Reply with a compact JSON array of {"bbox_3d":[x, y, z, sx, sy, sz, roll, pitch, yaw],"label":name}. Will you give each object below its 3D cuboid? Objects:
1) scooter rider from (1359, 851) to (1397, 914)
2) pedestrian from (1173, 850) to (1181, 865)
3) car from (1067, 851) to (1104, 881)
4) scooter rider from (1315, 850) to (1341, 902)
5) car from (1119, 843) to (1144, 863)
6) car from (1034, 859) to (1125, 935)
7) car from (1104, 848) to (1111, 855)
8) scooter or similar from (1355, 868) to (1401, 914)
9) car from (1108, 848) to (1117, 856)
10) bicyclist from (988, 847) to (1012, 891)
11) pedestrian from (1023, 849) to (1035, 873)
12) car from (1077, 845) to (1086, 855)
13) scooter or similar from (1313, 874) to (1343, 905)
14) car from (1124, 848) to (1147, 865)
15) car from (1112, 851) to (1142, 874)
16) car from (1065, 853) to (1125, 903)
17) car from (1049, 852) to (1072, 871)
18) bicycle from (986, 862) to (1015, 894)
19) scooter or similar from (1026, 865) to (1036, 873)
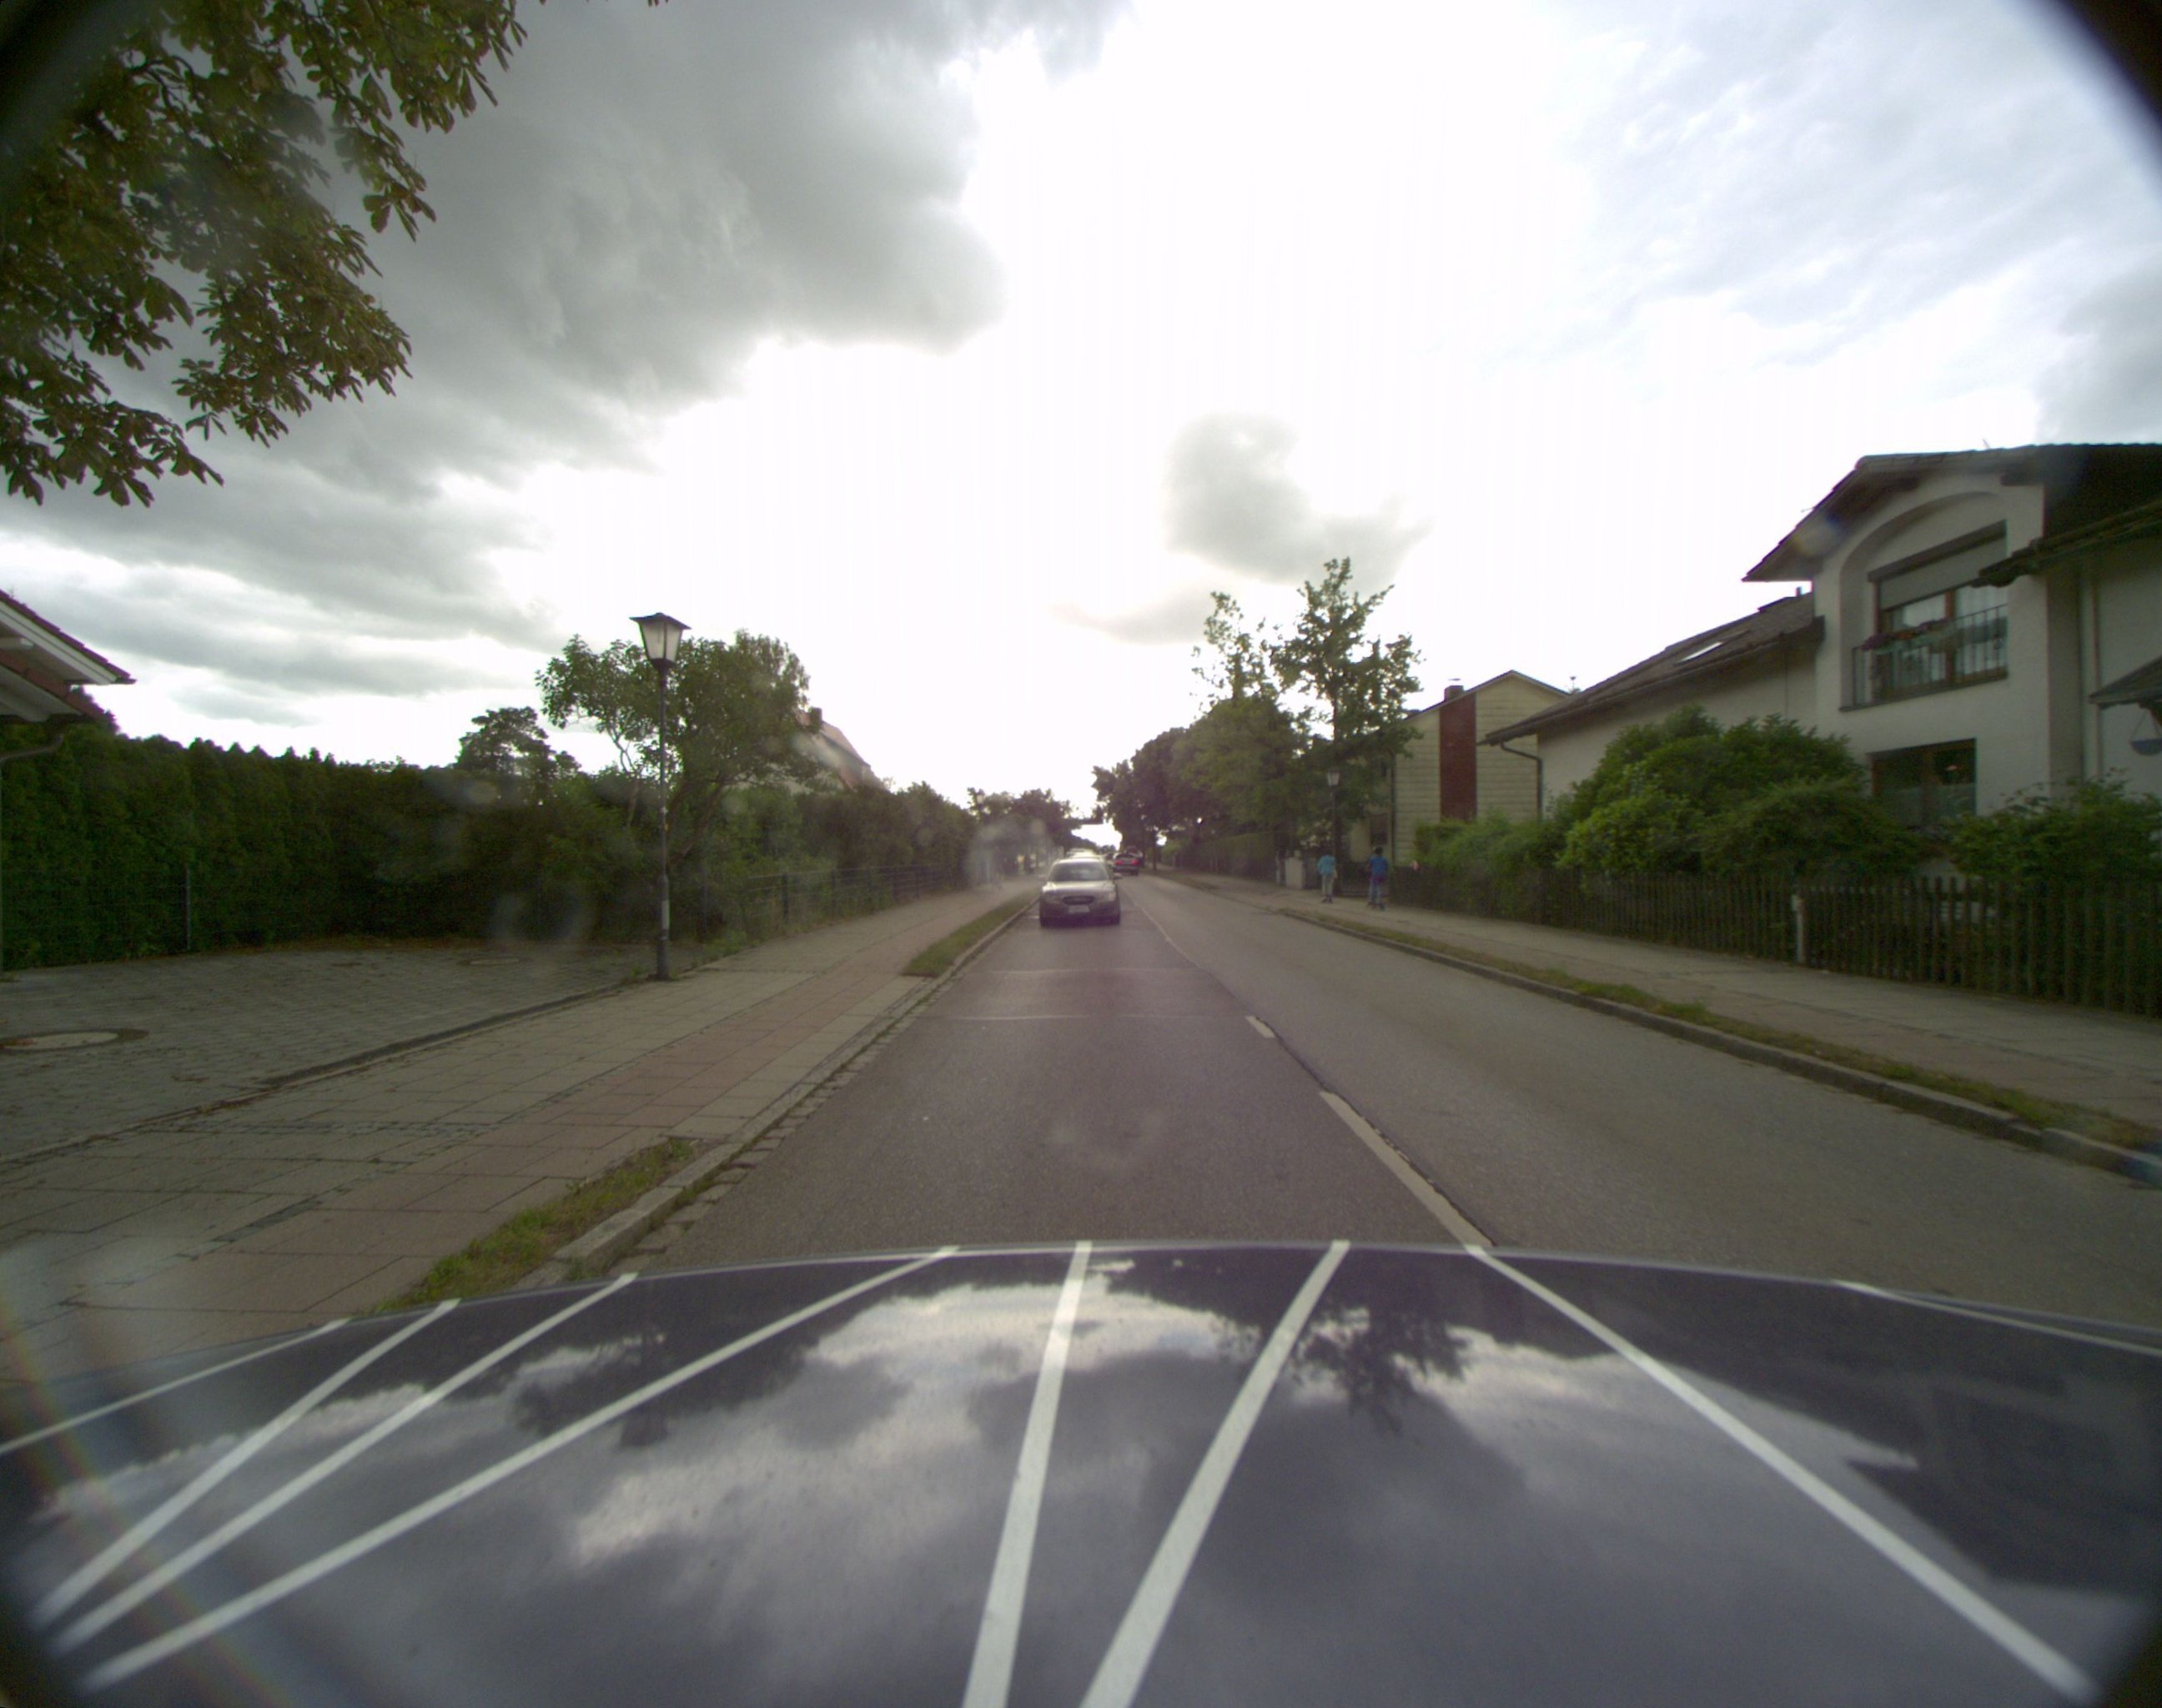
[{"bbox_3d":[7.139,0.671,18.269,0.664,1.464,0.581,-1,1,1],"label":"scooter rider"},{"bbox_3d":[8.996,0.342,71.236,0.631,1.429,0.563,-1,1,0],"label":"pedestrian"},{"bbox_3d":[0.233,0.618,41.377,1.866,1.518,4.122,-1,0,0],"label":"car"},{"bbox_3d":[7.093,0.618,21.842,0.504,1.481,0.716,-1,1,2],"label":"scooter rider"},{"bbox_3d":[5.763,-0.120,87.194,2.246,2.258,4.469,-1,0,-3],"label":"car"},{"bbox_3d":[-0.029,0.883,17.601,1.809,1.476,4.270,-1,0,0],"label":"car"},{"bbox_3d":[7.360,-0.604,211.217,1.904,1.873,5.010,-1,0,1],"label":"car"},{"bbox_3d":[7.150,0.871,18.361,0.663,1.031,1.178,-1,0,2],"label":"scooter or similar"},{"bbox_3d":[7.467,-0.457,180.088,1.969,1.842,4.947,-1,0,1],"label":"car"},{"bbox_3d":[-3.067,0.558,28.751,0.738,1.623,0.891,-1,1,3],"label":"bicyclist"},{"bbox_3d":[-3.609,0.487,52.700,0.793,1.592,0.671,-1,1,-2],"label":"pedestrian"},{"bbox_3d":[0.113,-0.897,157.097,1.998,2.002,4.000,-1,0,0],"label":"car"},{"bbox_3d":[7.106,1.014,21.870,0.522,0.845,1.061,-1,0,1],"label":"scooter or similar"},{"bbox_3d":[5.788,0.230,81.210,1.999,1.739,3.999,-1,0,-2],"label":"car"},{"bbox_3d":[3.371,0.603,56.378,1.935,1.566,4.311,-3,0,0],"label":"car"},{"bbox_3d":[0.448,0.768,26.583,1.866,1.518,4.942,-1,0,0],"label":"car"},{"bbox_3d":[-1.719,0.605,64.130,1.867,1.518,4.122,-2,0,-1],"label":"car"},{"bbox_3d":[-3.030,0.880,28.763,0.766,1.136,1.845,-1,0,2],"label":"bicycle"},{"bbox_3d":[-3.434,1.027,52.040,0.618,0.553,0.742,-1,0,-8],"label":"scooter or similar"}]
